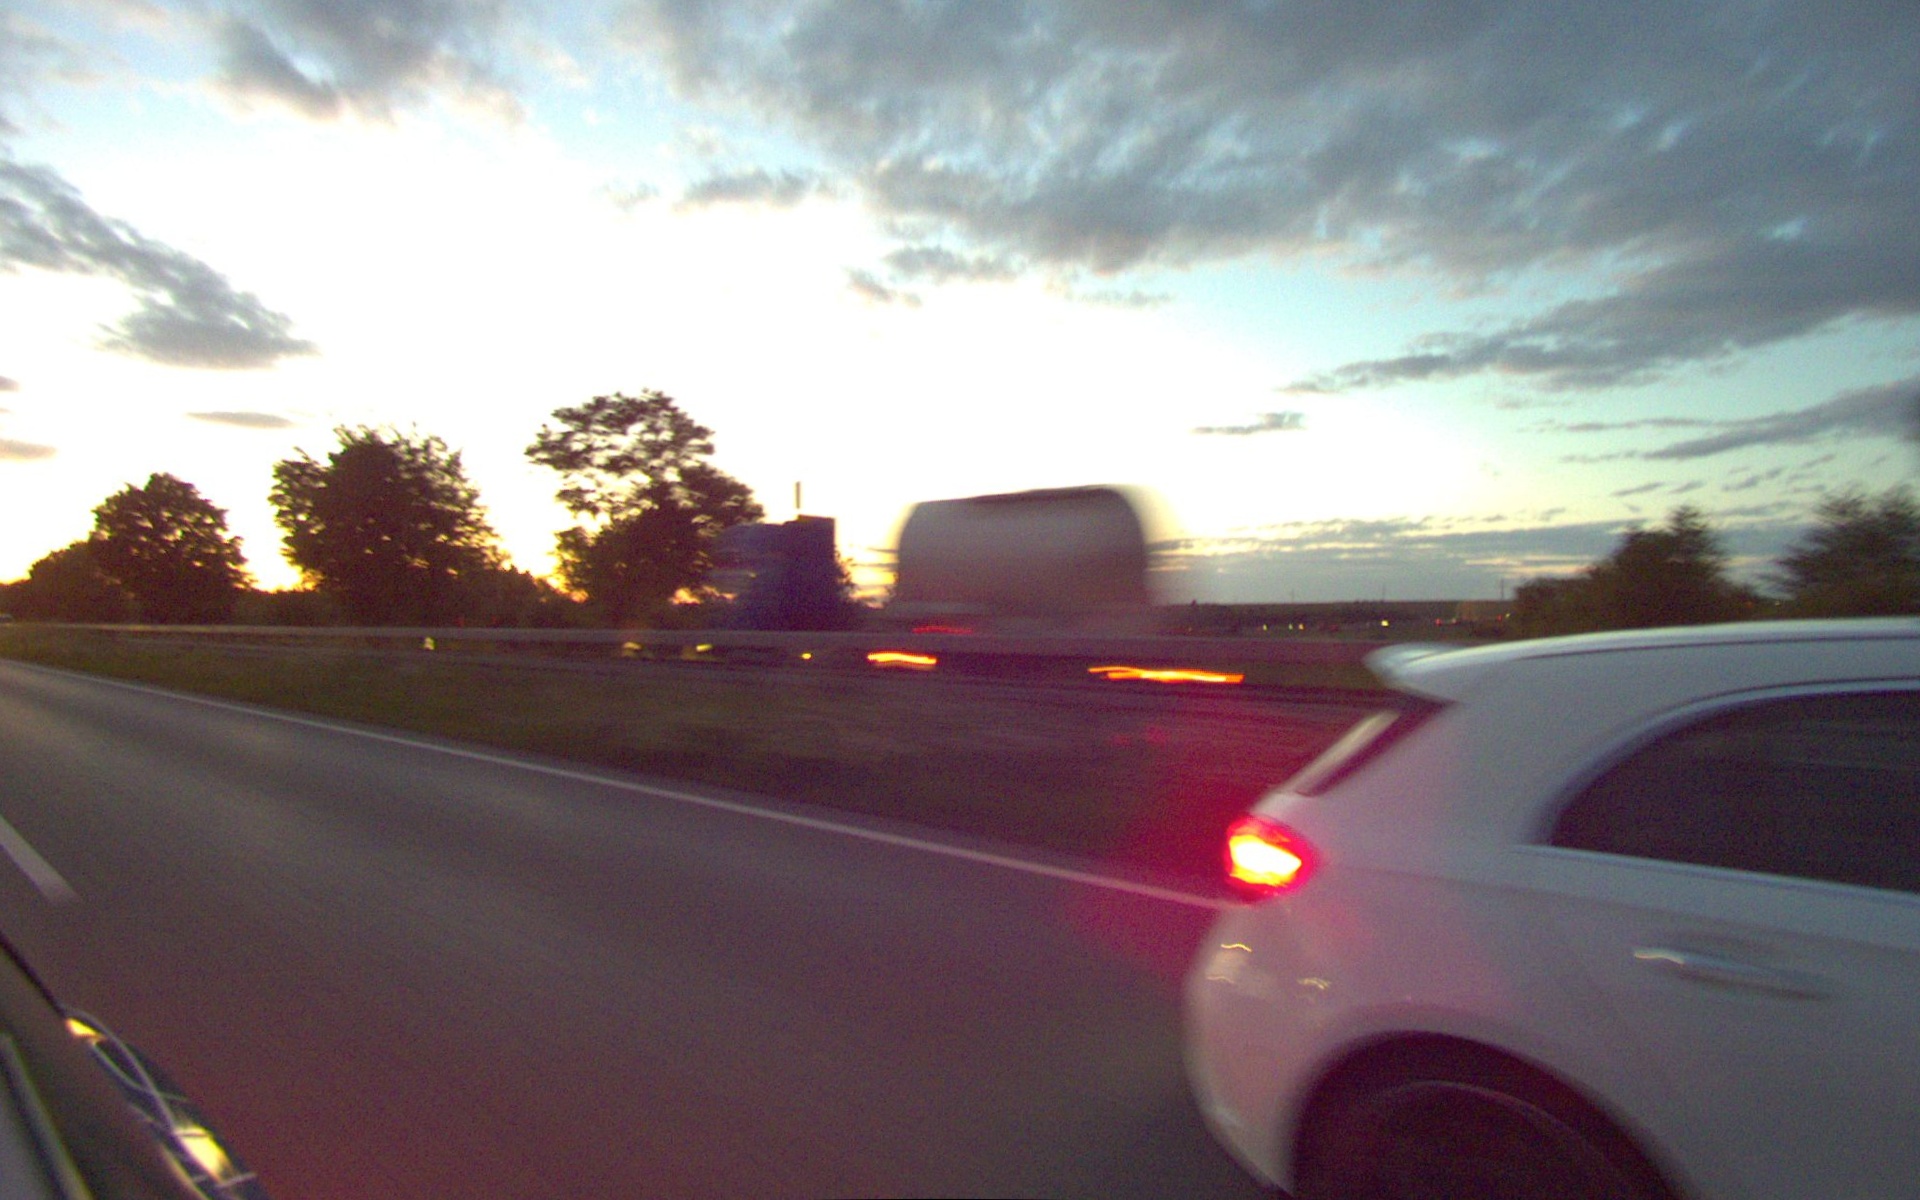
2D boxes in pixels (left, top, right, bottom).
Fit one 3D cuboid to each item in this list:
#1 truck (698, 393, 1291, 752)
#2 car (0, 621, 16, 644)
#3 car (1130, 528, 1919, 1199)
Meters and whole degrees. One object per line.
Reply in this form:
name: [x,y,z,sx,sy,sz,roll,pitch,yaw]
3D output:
truck: [-0.133,-0.282,20.214,12.601,5.296,3.169,-1,-3,41]
car: [-88.635,2.978,93.112,5.343,2.115,1.945,-1,0,40]
car: [2.638,0.632,1.336,4.576,1.501,1.625,-1,0,40]
